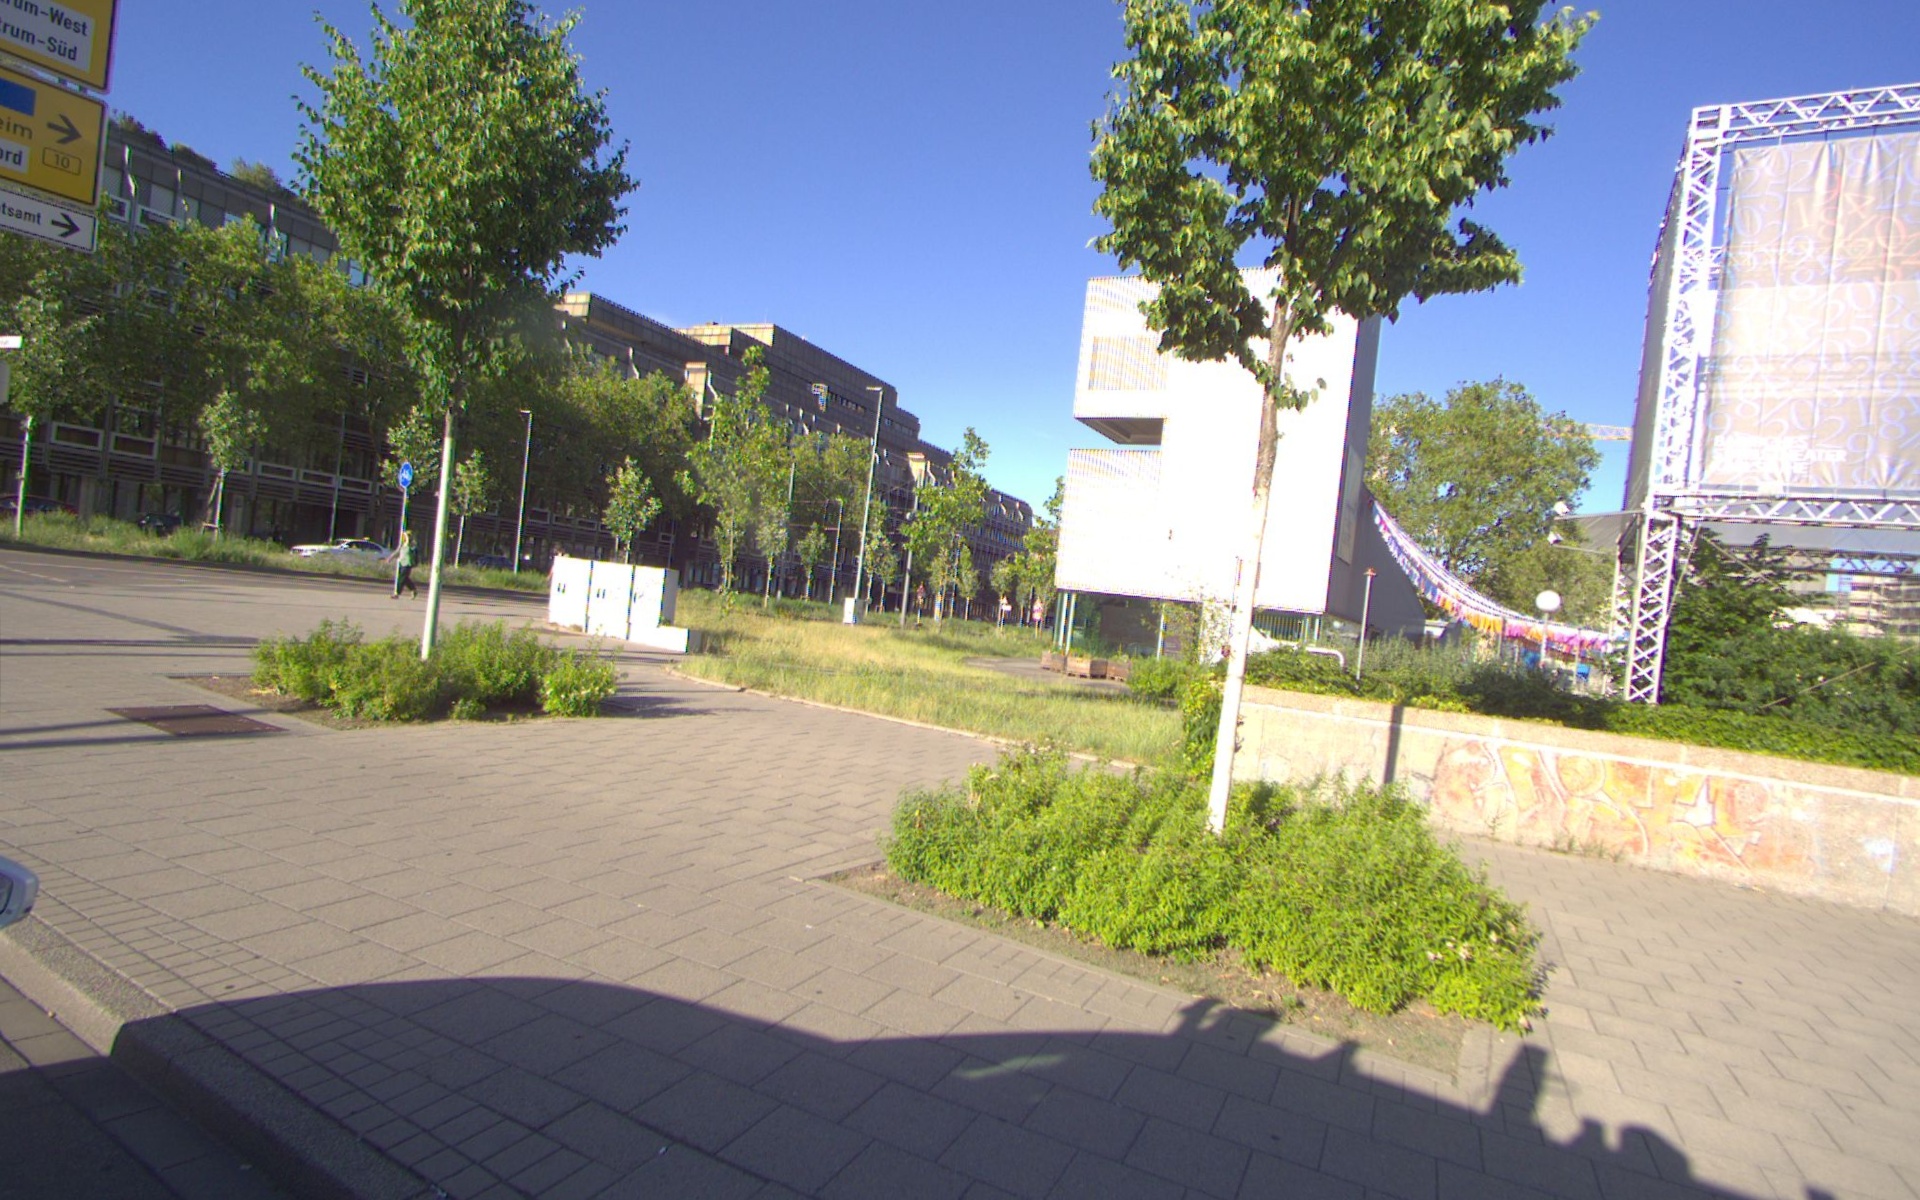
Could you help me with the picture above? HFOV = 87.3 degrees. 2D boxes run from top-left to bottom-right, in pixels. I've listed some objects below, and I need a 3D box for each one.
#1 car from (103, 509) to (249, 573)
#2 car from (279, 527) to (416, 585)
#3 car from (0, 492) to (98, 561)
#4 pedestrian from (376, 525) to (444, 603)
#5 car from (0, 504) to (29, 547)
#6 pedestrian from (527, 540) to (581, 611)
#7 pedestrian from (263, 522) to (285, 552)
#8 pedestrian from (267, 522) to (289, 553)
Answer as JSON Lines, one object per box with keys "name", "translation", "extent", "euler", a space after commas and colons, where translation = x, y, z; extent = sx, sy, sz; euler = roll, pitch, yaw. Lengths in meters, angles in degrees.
{"name": "car", "translation": [-34.103, -2.519, 43.878], "extent": [1.965, 2.036, 4.458], "euler": [7, -2, 27]}
{"name": "car", "translation": [-30.666, -2.172, 50.581], "extent": [2.062, 2.036, 5.455], "euler": [6, -2, 29]}
{"name": "car", "translation": [-33.307, -2.702, 35.371], "extent": [1.966, 2.037, 3.997], "euler": [6, -2, 29]}
{"name": "pedestrian", "translation": [-12.627, -0.813, 23.099], "extent": [0.925, 1.650, 0.803], "euler": [7, 1, 18]}
{"name": "car", "translation": [-37.237, -3.034, 36.942], "extent": [1.836, 1.525, 3.997], "euler": [7, -2, 29]}
{"name": "pedestrian", "translation": [-10.743, -0.642, 26.641], "extent": [0.925, 1.750, 0.695], "euler": [7, 1, 18]}
{"name": "pedestrian", "translation": [-41.115, -3.772, 60.280], "extent": [0.728, 1.678, 0.665], "euler": [7, 1, 25]}
{"name": "pedestrian", "translation": [-40.477, -3.709, 59.745], "extent": [0.728, 1.678, 0.665], "euler": [7, 1, 25]}
